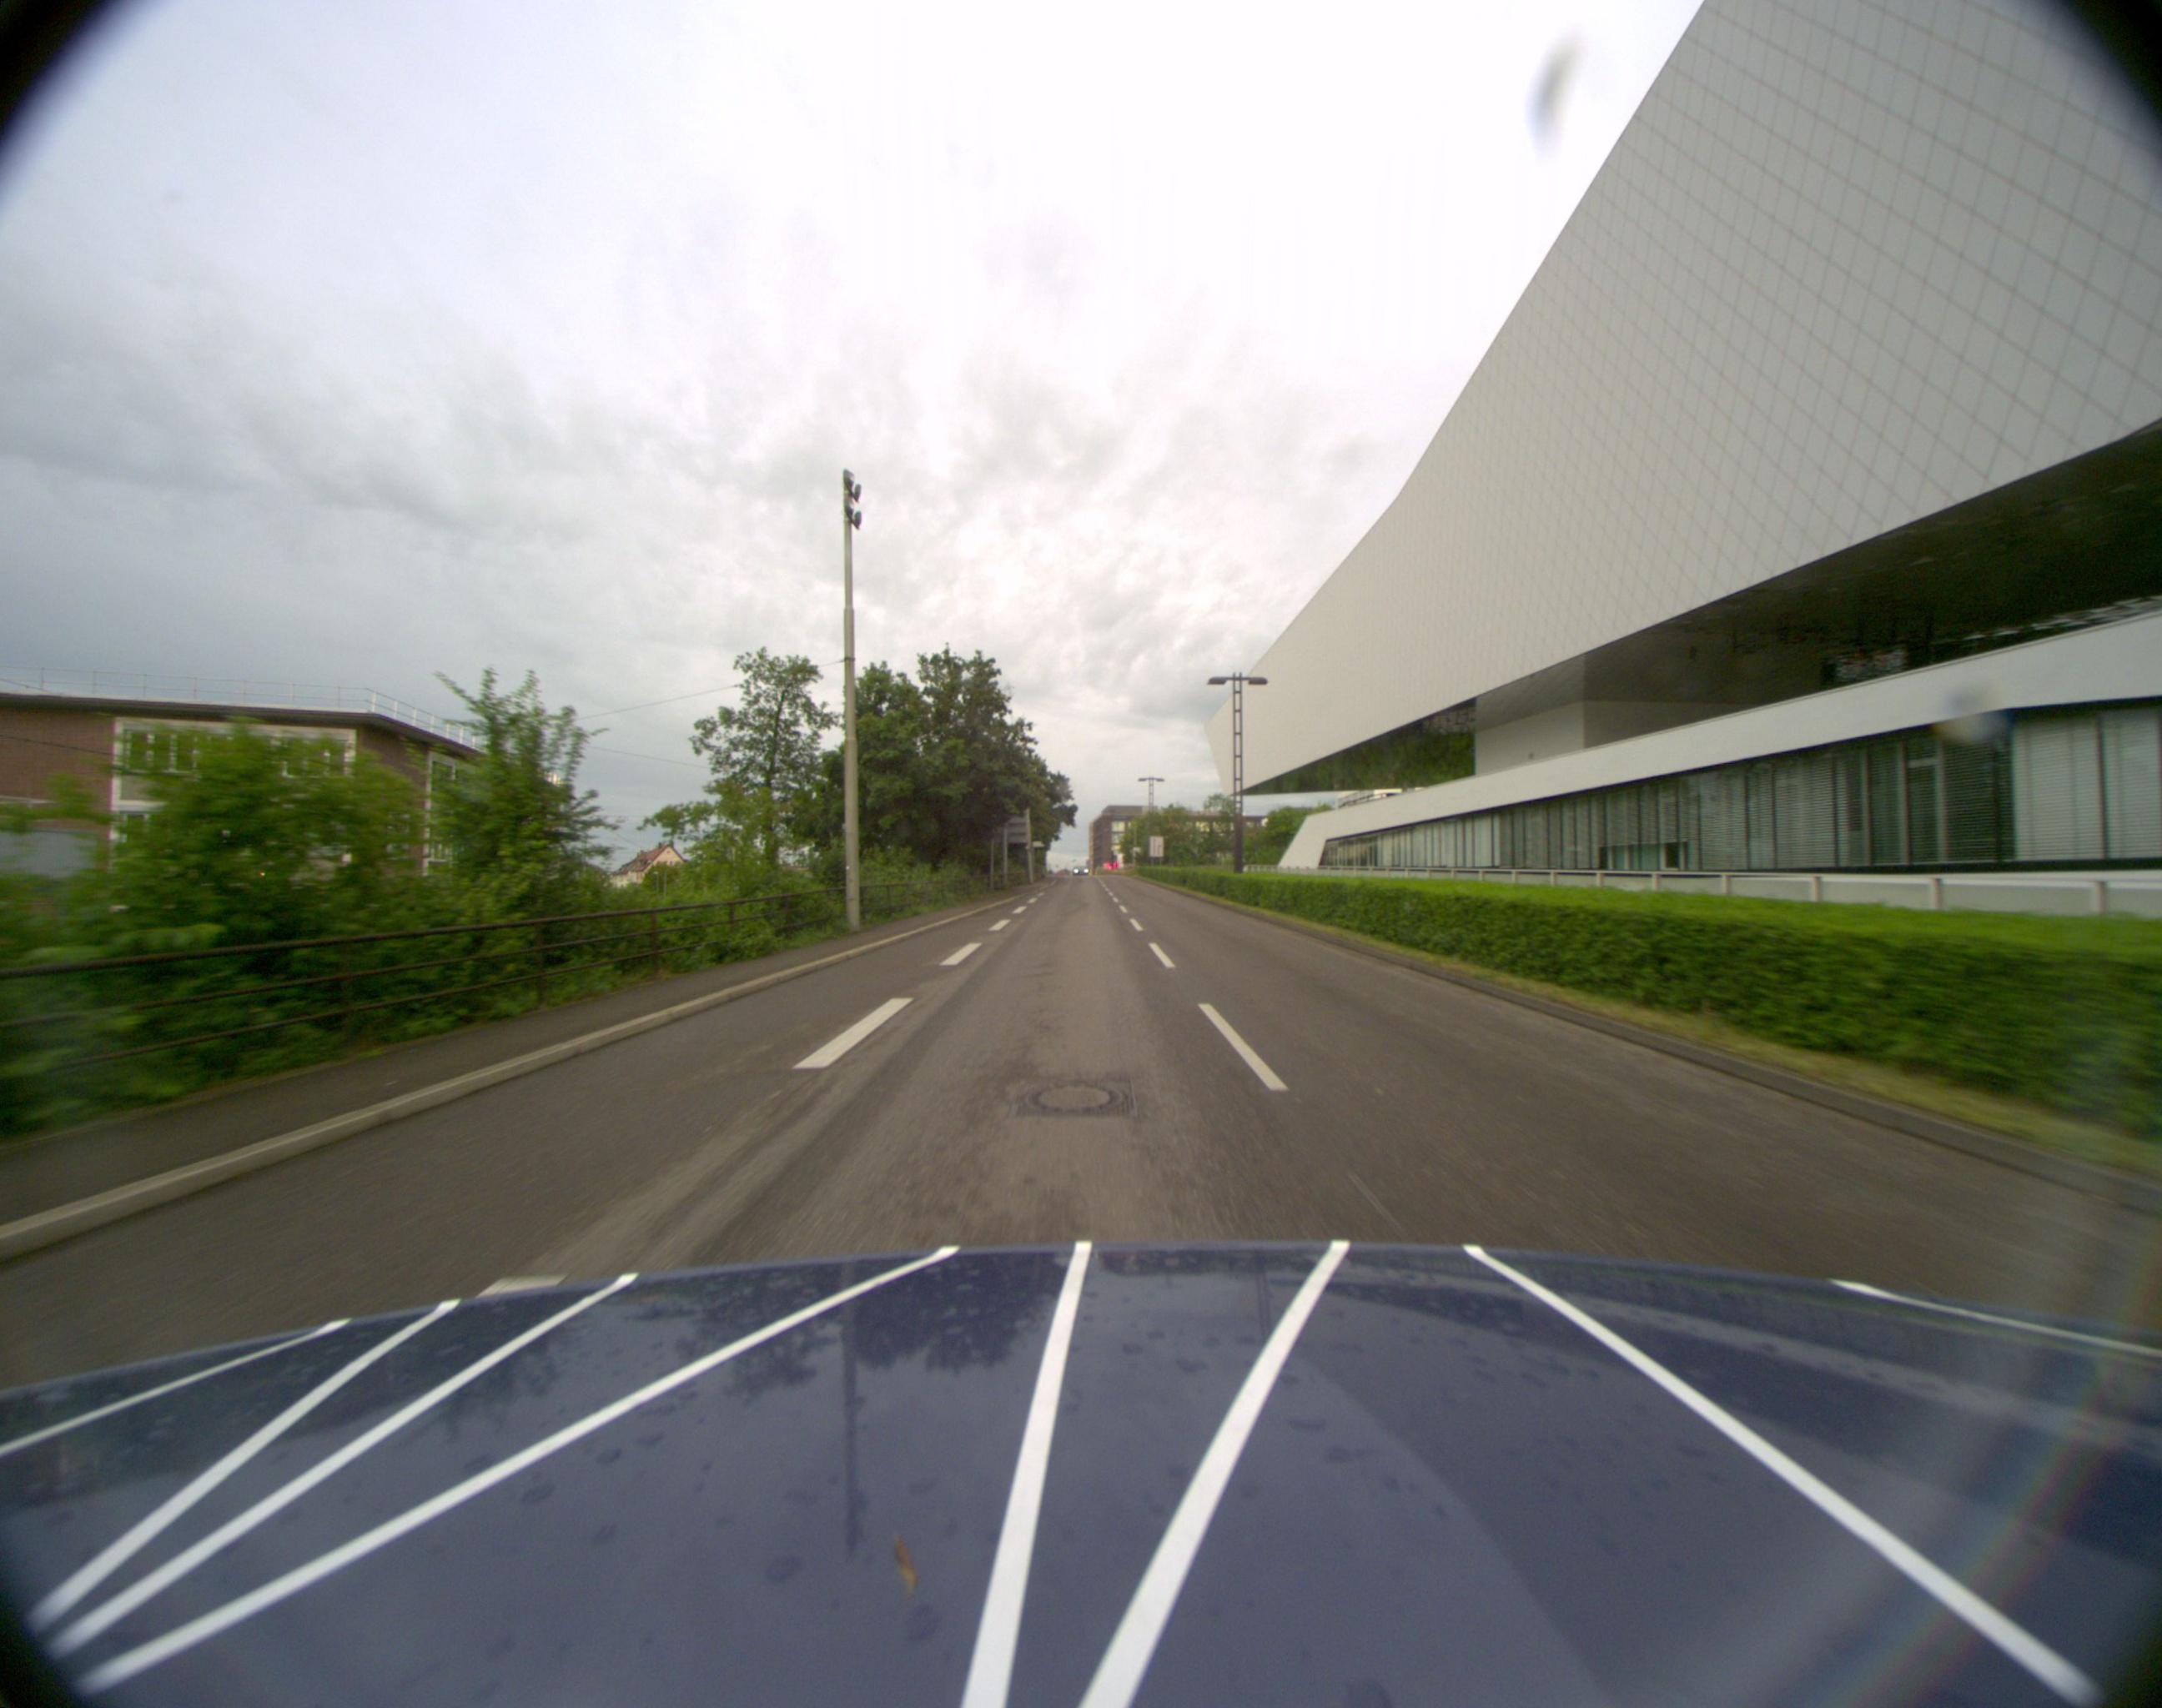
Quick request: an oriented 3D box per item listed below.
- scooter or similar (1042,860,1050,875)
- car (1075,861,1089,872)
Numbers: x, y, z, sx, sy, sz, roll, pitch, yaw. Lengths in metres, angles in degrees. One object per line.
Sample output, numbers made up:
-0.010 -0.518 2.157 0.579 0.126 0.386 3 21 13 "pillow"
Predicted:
-2.907 1.135 63.583 0.539 1.225 1.844 -1 0 0 "scooter or similar"
0.066 1.817 109.001 1.841 1.574 4.289 -1 0 -2 "car"
